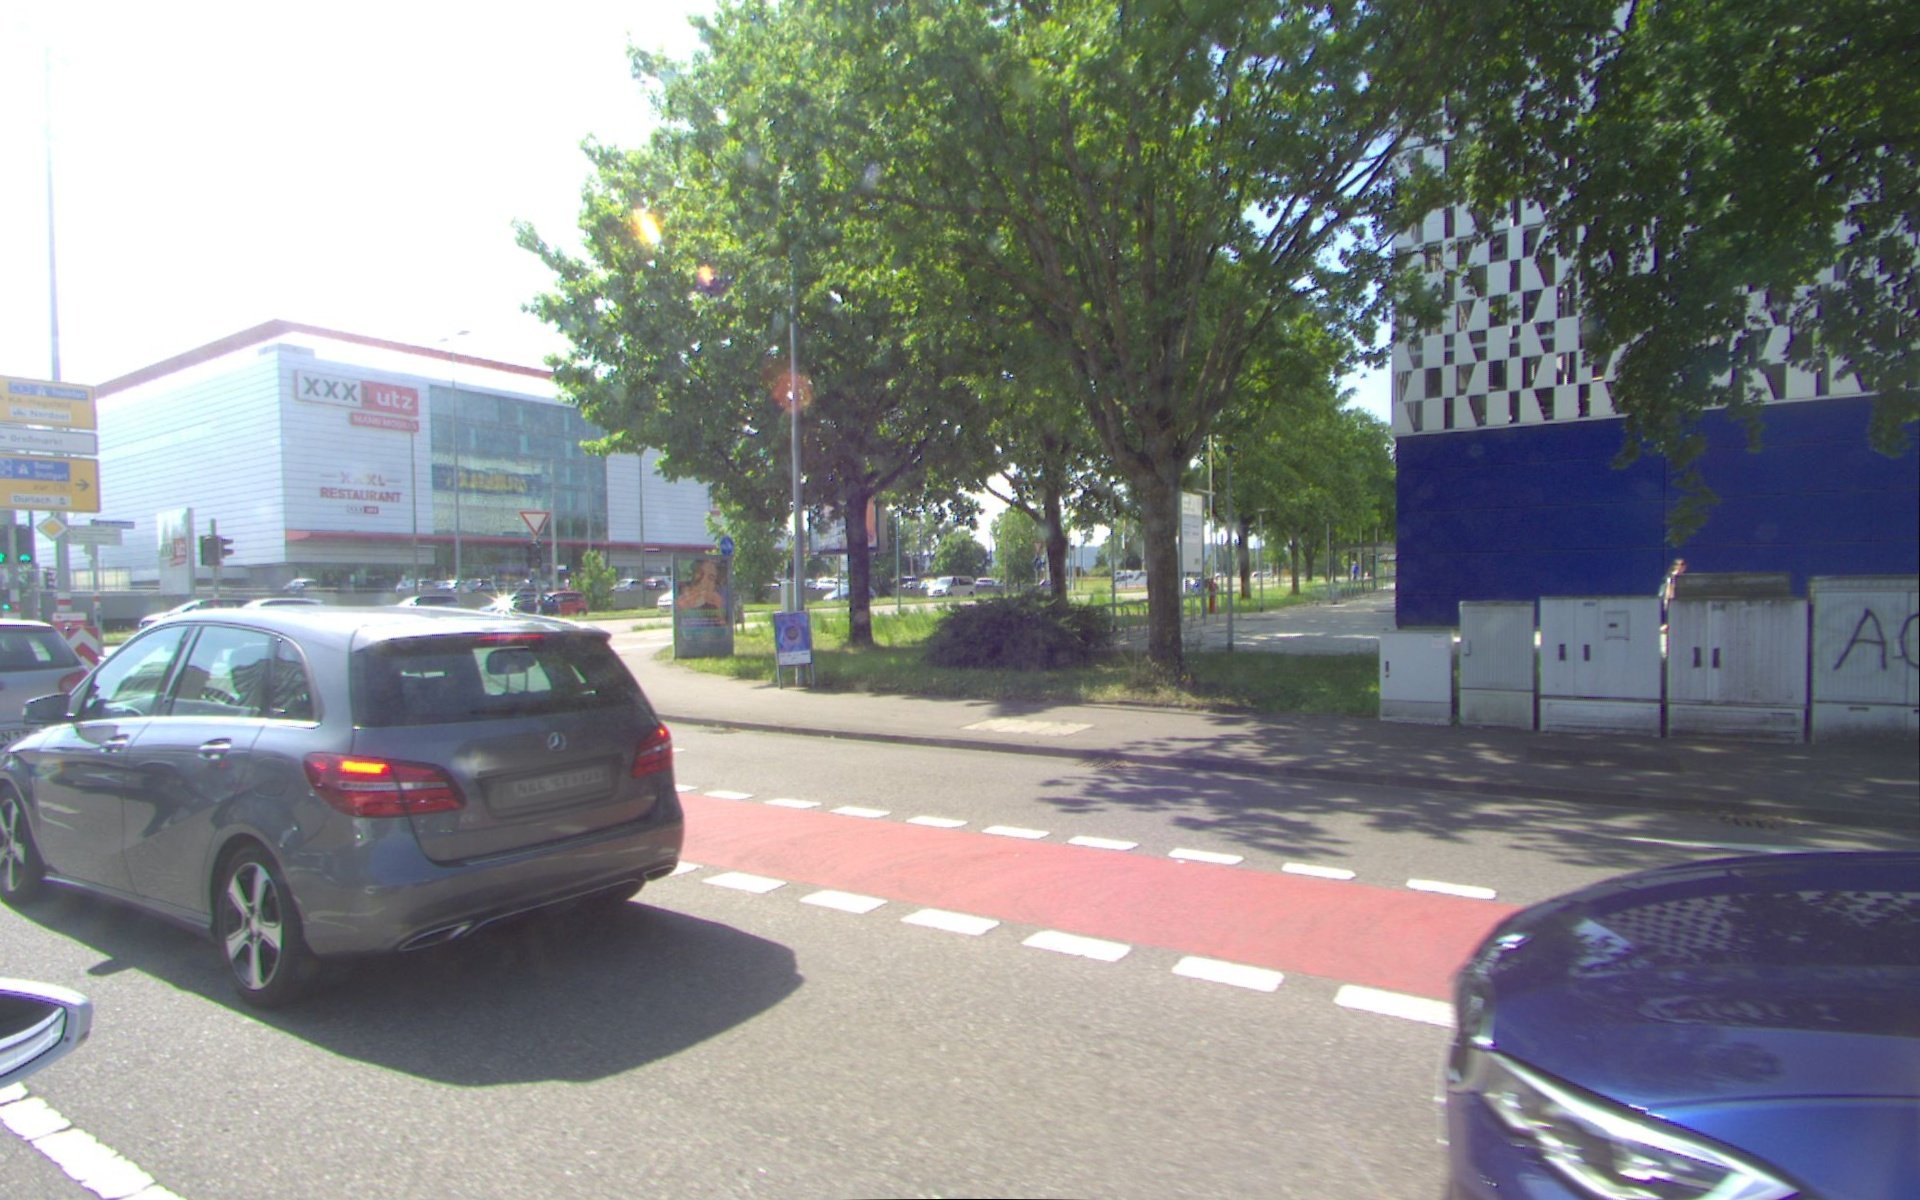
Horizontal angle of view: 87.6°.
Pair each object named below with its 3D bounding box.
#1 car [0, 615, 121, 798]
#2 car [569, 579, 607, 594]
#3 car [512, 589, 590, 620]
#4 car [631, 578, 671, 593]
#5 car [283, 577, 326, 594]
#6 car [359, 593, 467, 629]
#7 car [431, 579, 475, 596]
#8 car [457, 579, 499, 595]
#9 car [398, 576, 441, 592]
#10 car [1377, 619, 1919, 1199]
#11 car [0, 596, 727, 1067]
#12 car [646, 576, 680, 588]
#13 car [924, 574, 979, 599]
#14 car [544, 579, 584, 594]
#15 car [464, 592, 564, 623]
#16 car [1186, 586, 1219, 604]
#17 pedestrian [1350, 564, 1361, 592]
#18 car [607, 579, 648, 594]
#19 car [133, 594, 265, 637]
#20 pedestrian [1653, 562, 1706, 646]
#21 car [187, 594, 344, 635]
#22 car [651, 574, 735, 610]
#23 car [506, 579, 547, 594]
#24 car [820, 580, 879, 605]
[{"bbox_3d":[-9.156,0.856,8.798,3.628,1.433,1.664,0,0,31],"label":"car"},{"bbox_3d":[-39.102,-1.409,105.283,4.143,1.439,1.730,0,1,35],"label":"car"},{"bbox_3d":[-21.351,0.214,52.400,1.578,1.597,3.458,0,1,36],"label":"car"},{"bbox_3d":[-30.841,-1.395,99.967,3.955,1.439,1.734,0,1,35],"label":"car"},{"bbox_3d":[-57.476,-1.275,87.766,4.143,1.439,1.765,0,1,35],"label":"car"},{"bbox_3d":[-25.536,0.484,46.871,1.883,1.529,4.015,-1,1,35],"label":"car"},{"bbox_3d":[-47.103,-1.150,93.017,4.143,1.439,1.826,0,1,35],"label":"car"},{"bbox_3d":[-46.085,-1.250,95.692,4.143,1.439,1.866,0,1,35],"label":"car"},{"bbox_3d":[-49.184,-1.454,91.104,3.950,1.439,1.795,0,1,32],"label":"car"},{"bbox_3d":[2.979,0.757,1.082,4.472,1.448,1.792,0,0,32],"label":"car"},{"bbox_3d":[-3.314,0.769,5.144,4.077,1.559,1.770,0,0,31],"label":"car"},{"bbox_3d":[-35.759,-2.174,120.639,4.143,1.439,1.679,0,1,35],"label":"car"},{"bbox_3d":[-0.663,-1.086,81.614,1.890,1.961,4.756,-2,0,37],"label":"car"},{"bbox_3d":[-40.923,-1.400,103.451,4.143,1.439,1.799,0,1,35],"label":"car"},{"bbox_3d":[-21.229,0.328,47.781,1.701,1.360,4.032,-1,0,35],"label":"car"},{"bbox_3d":[21.433,-0.454,88.487,1.618,1.556,3.893,0,1,34],"label":"car"},{"bbox_3d":[29.311,-1.617,74.187,0.670,2.039,0.600,0,-1,18],"label":"pedestrian"},{"bbox_3d":[-32.586,-1.327,98.108,4.054,1.439,1.679,0,1,35],"label":"car"},{"bbox_3d":[-30.527,0.591,40.244,1.785,1.579,3.871,0,1,36],"label":"car"},{"bbox_3d":[13.693,0.068,19.083,0.769,1.567,0.677,0,2,32],"label":"pedestrian"},{"bbox_3d":[-27.375,0.558,39.601,1.933,1.444,4.701,-1,0,35],"label":"car"},{"bbox_3d":[-16.005,-0.481,60.155,1.937,2.002,4.658,-2,0,35],"label":"car"},{"bbox_3d":[-43.109,-1.363,99.612,4.143,1.439,1.894,0,1,35],"label":"car"},{"bbox_3d":[-7.605,-0.538,69.252,1.662,1.642,4.101,0,1,37],"label":"car"}]
